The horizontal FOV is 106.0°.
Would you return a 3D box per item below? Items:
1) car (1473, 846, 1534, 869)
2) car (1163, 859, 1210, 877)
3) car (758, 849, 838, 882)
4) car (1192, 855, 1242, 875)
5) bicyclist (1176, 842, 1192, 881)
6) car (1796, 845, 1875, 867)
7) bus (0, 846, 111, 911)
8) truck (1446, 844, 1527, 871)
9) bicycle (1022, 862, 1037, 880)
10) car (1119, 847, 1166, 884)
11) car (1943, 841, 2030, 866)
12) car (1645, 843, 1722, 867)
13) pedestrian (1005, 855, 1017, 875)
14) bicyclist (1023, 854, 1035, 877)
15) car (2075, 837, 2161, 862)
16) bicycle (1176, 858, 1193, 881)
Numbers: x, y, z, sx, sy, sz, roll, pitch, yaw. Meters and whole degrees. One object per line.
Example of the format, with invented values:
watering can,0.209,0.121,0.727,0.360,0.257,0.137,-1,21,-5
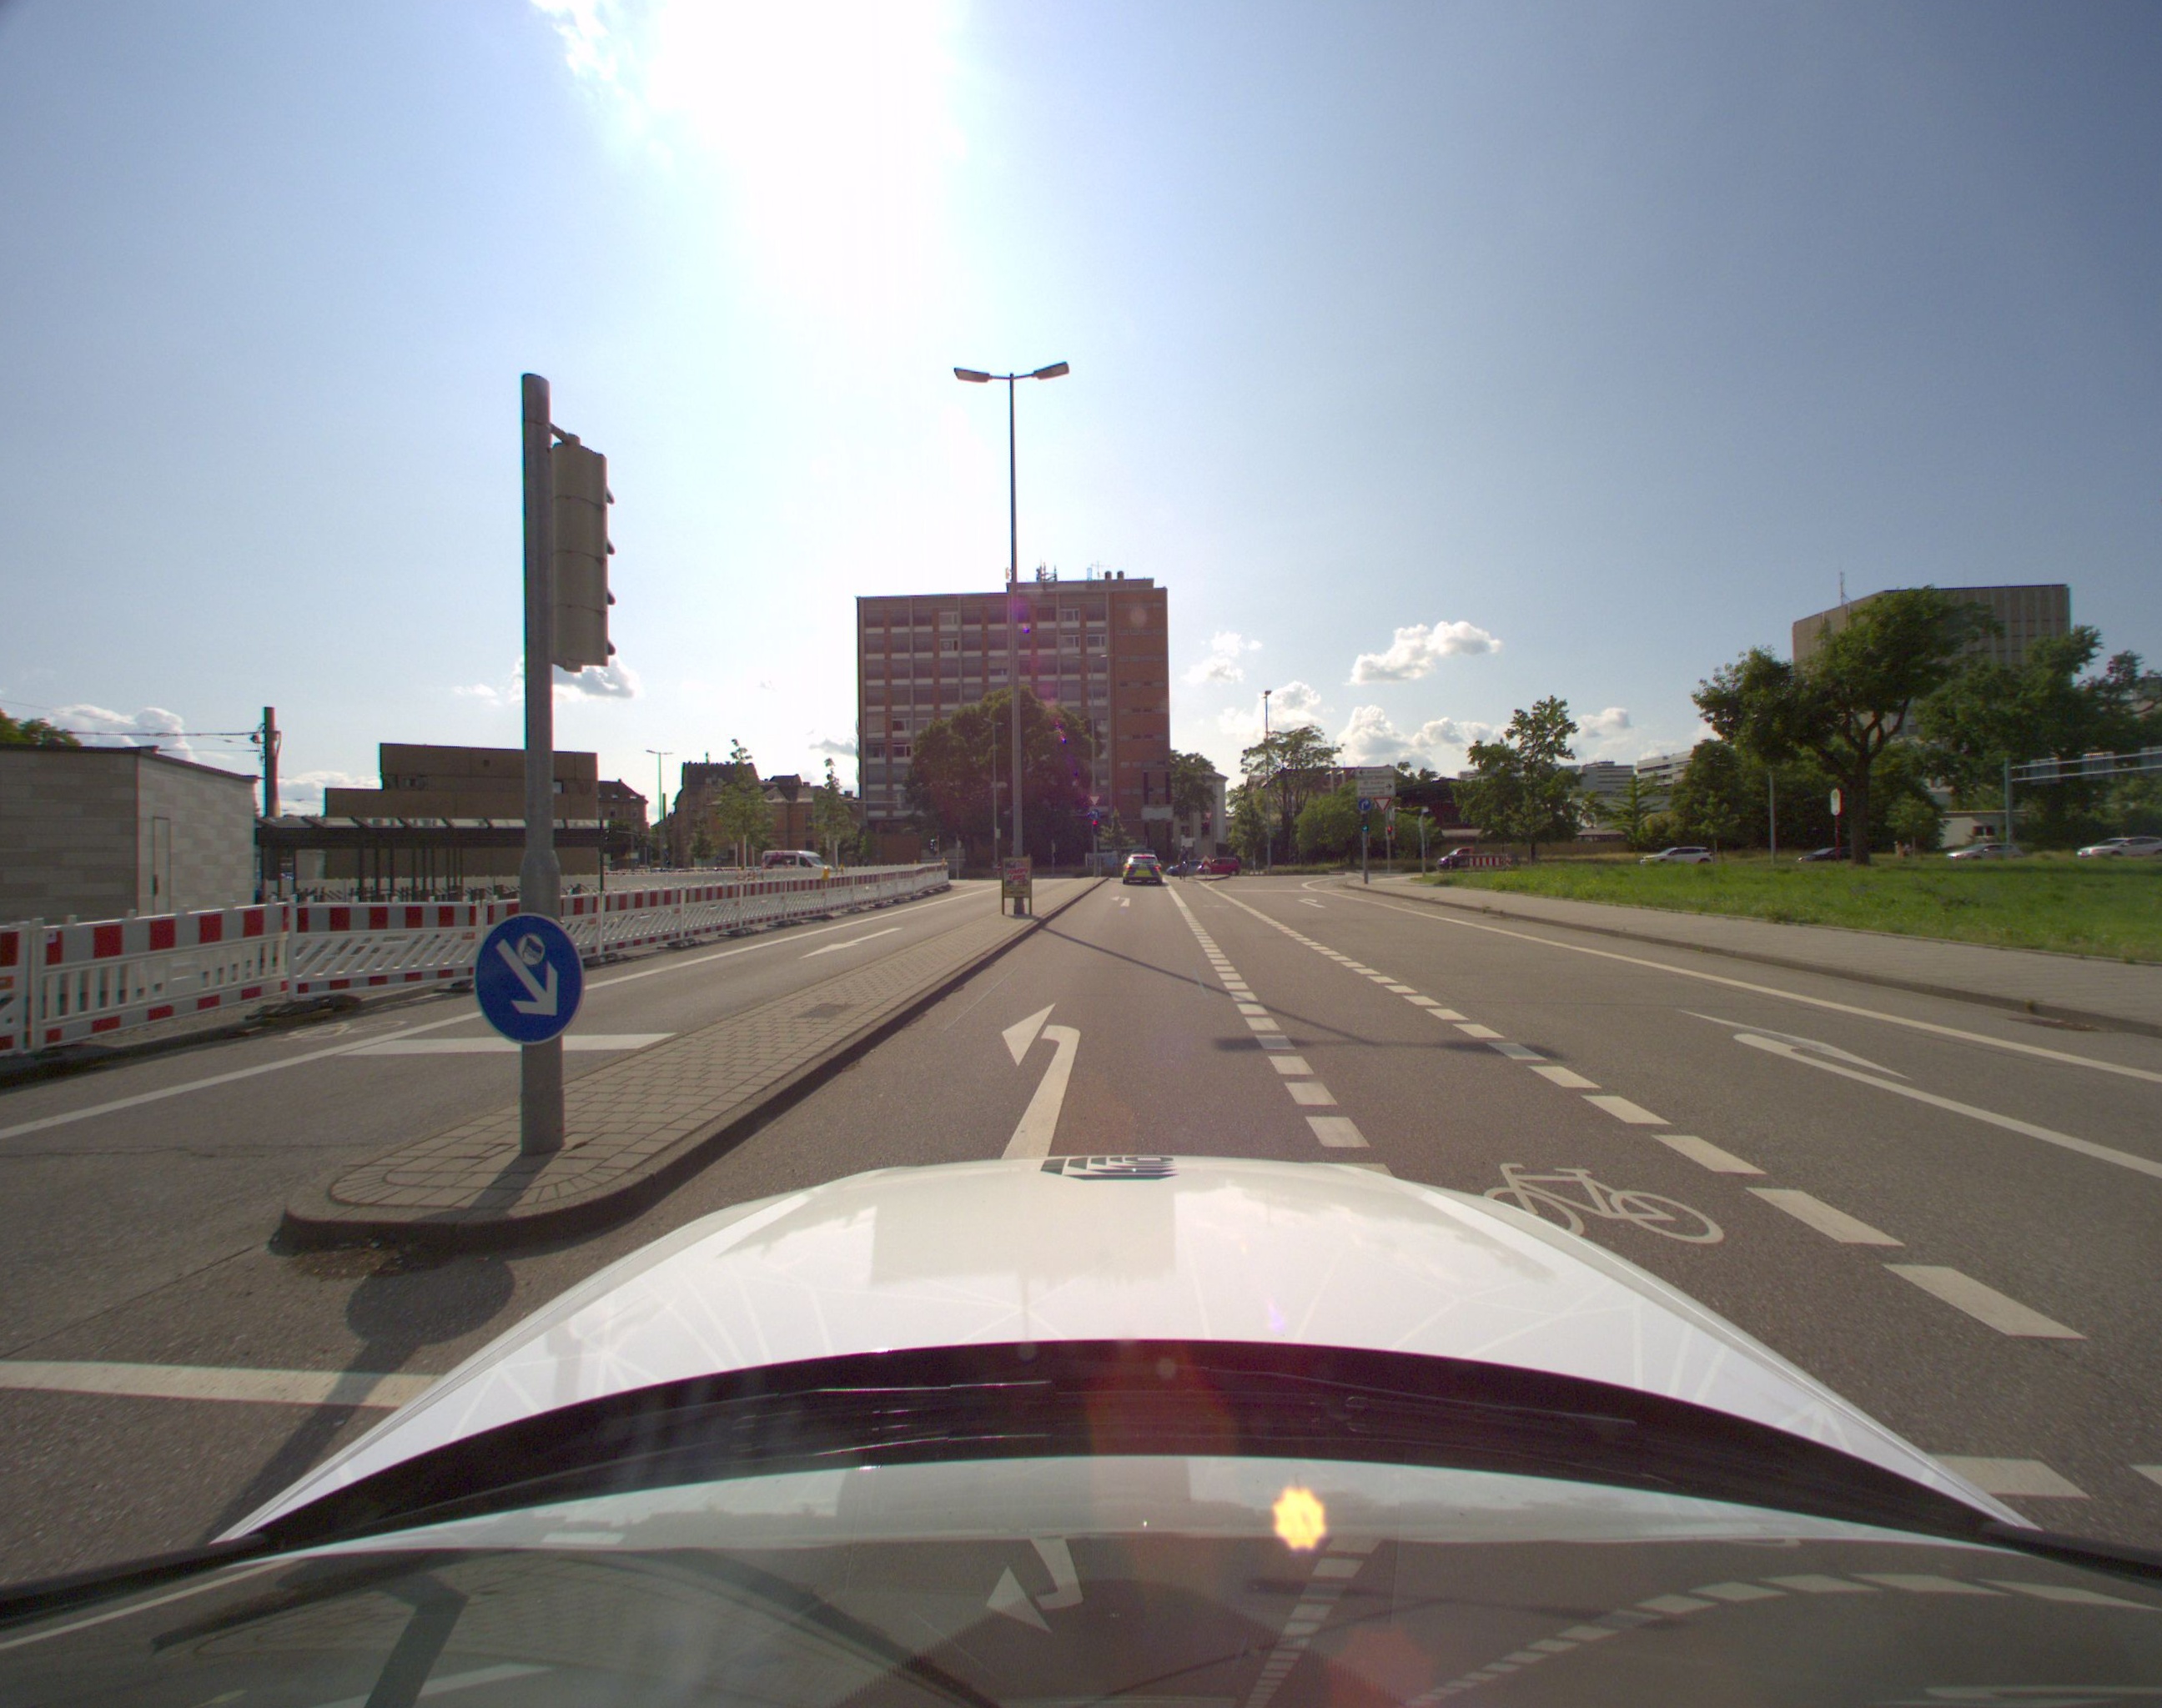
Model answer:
car,32.747,0.278,63.262,3.885,1.609,1.632,-1,0,12
car,8.853,1.160,68.356,3.695,1.456,1.633,-1,0,16
car,-21.251,0.849,61.194,5.521,2.319,2.314,-1,-1,22
car,10.848,0.893,64.979,3.695,1.456,1.633,-1,0,16
bicyclist,5.398,0.377,42.687,0.715,1.973,0.840,-1,1,4
car,53.224,0.138,57.490,3.890,1.419,1.629,-1,0,7
bus,-53.768,1.208,41.459,2.438,2.982,10.438,-1,0,-32
truck,30.141,0.288,60.654,5.081,1.838,2.007,-1,0,12
bicycle,-3.370,1.126,53.156,0.631,1.084,2.194,-1,1,5
car,2.966,0.514,39.235,2.121,1.684,4.107,1,0,4
car,62.944,-0.028,56.664,3.889,1.609,1.630,-1,0,8
car,43.169,0.047,58.411,4.129,1.609,1.629,-1,0,7
pedestrian,-6.914,1.087,80.511,0.938,1.883,0.910,-1,0,7
bicyclist,-3.371,0.735,53.214,0.631,1.470,0.841,-1,1,5
car,71.106,-0.300,55.643,3.986,1.609,1.629,-1,0,7
bicycle,5.407,0.799,42.698,0.717,1.084,2.193,-1,1,4
